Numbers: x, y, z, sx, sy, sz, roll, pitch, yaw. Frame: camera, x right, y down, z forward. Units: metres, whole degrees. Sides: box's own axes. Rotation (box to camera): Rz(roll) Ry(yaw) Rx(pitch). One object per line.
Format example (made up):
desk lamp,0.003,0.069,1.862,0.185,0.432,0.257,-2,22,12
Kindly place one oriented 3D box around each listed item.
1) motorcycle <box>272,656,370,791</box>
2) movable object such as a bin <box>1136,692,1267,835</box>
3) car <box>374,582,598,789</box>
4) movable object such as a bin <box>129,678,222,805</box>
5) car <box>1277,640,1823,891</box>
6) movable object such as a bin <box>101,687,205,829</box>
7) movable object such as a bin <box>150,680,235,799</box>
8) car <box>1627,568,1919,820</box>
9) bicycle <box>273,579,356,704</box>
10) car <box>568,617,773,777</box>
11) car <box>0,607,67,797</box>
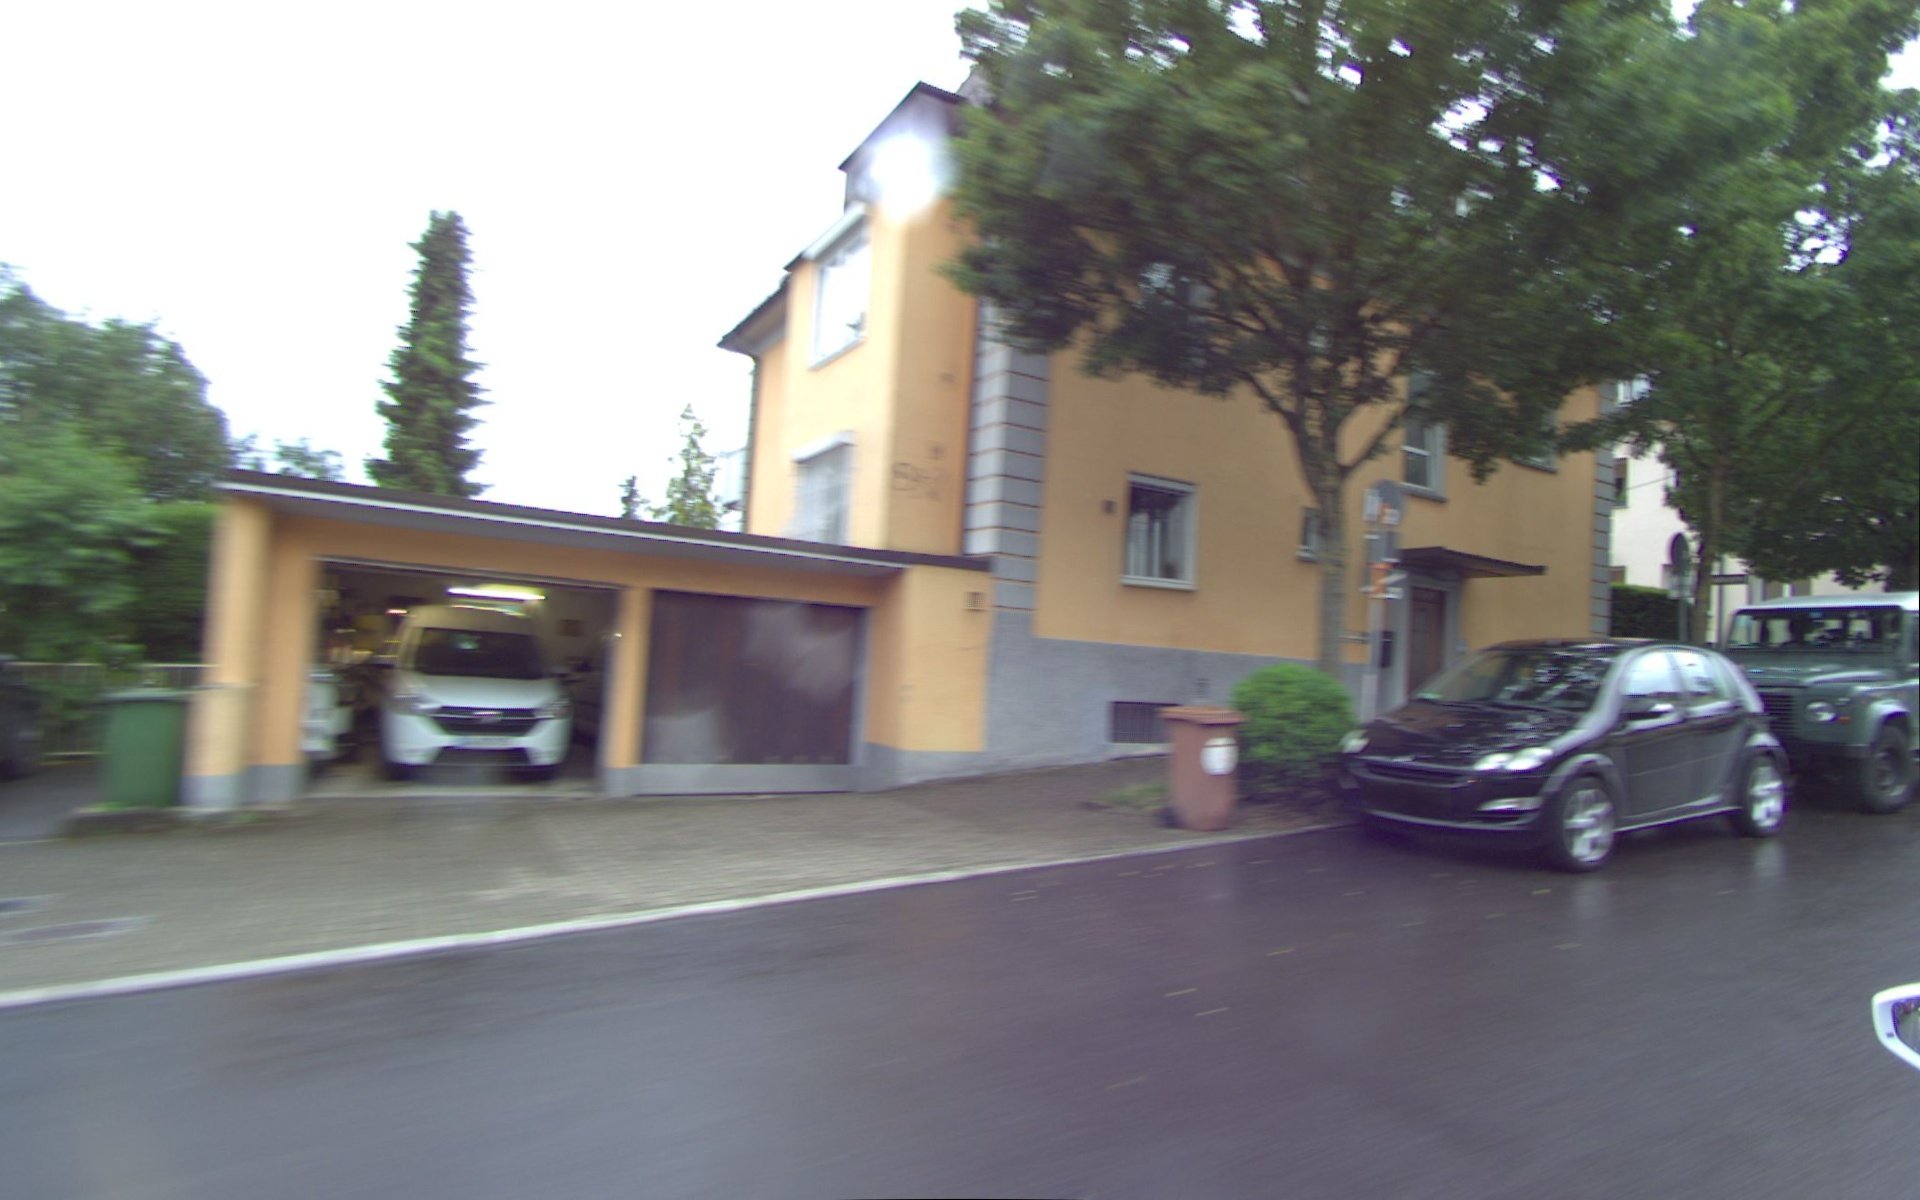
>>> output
motorcycle,-6.327,1.179,10.024,0.570,1.182,1.894,5,-4,-27
movable object such as a bin,1.887,1.249,7.874,0.701,1.024,0.678,1,-5,-35
car,-5.597,0.931,11.798,1.826,1.914,4.364,6,-4,-27
movable object such as a bin,-7.023,1.246,9.016,0.580,1.037,0.583,1,0,-33
car,4.613,1.048,7.715,4.296,1.455,1.760,2,-2,-30
movable object such as a bin,-6.559,1.259,8.193,0.580,1.037,0.583,1,0,-33
movable object such as a bin,-7.351,1.314,9.642,0.580,1.037,0.583,1,0,-33
car,9.079,0.853,10.248,4.724,2.076,1.784,1,-4,-29
bicycle,-7.063,0.493,11.053,0.619,0.947,1.757,1,-17,-29
car,-4.028,1.226,13.541,1.826,1.775,3.732,6,-4,-27
car,-9.205,0.877,8.315,1.841,1.668,4.034,2,-1,-30
